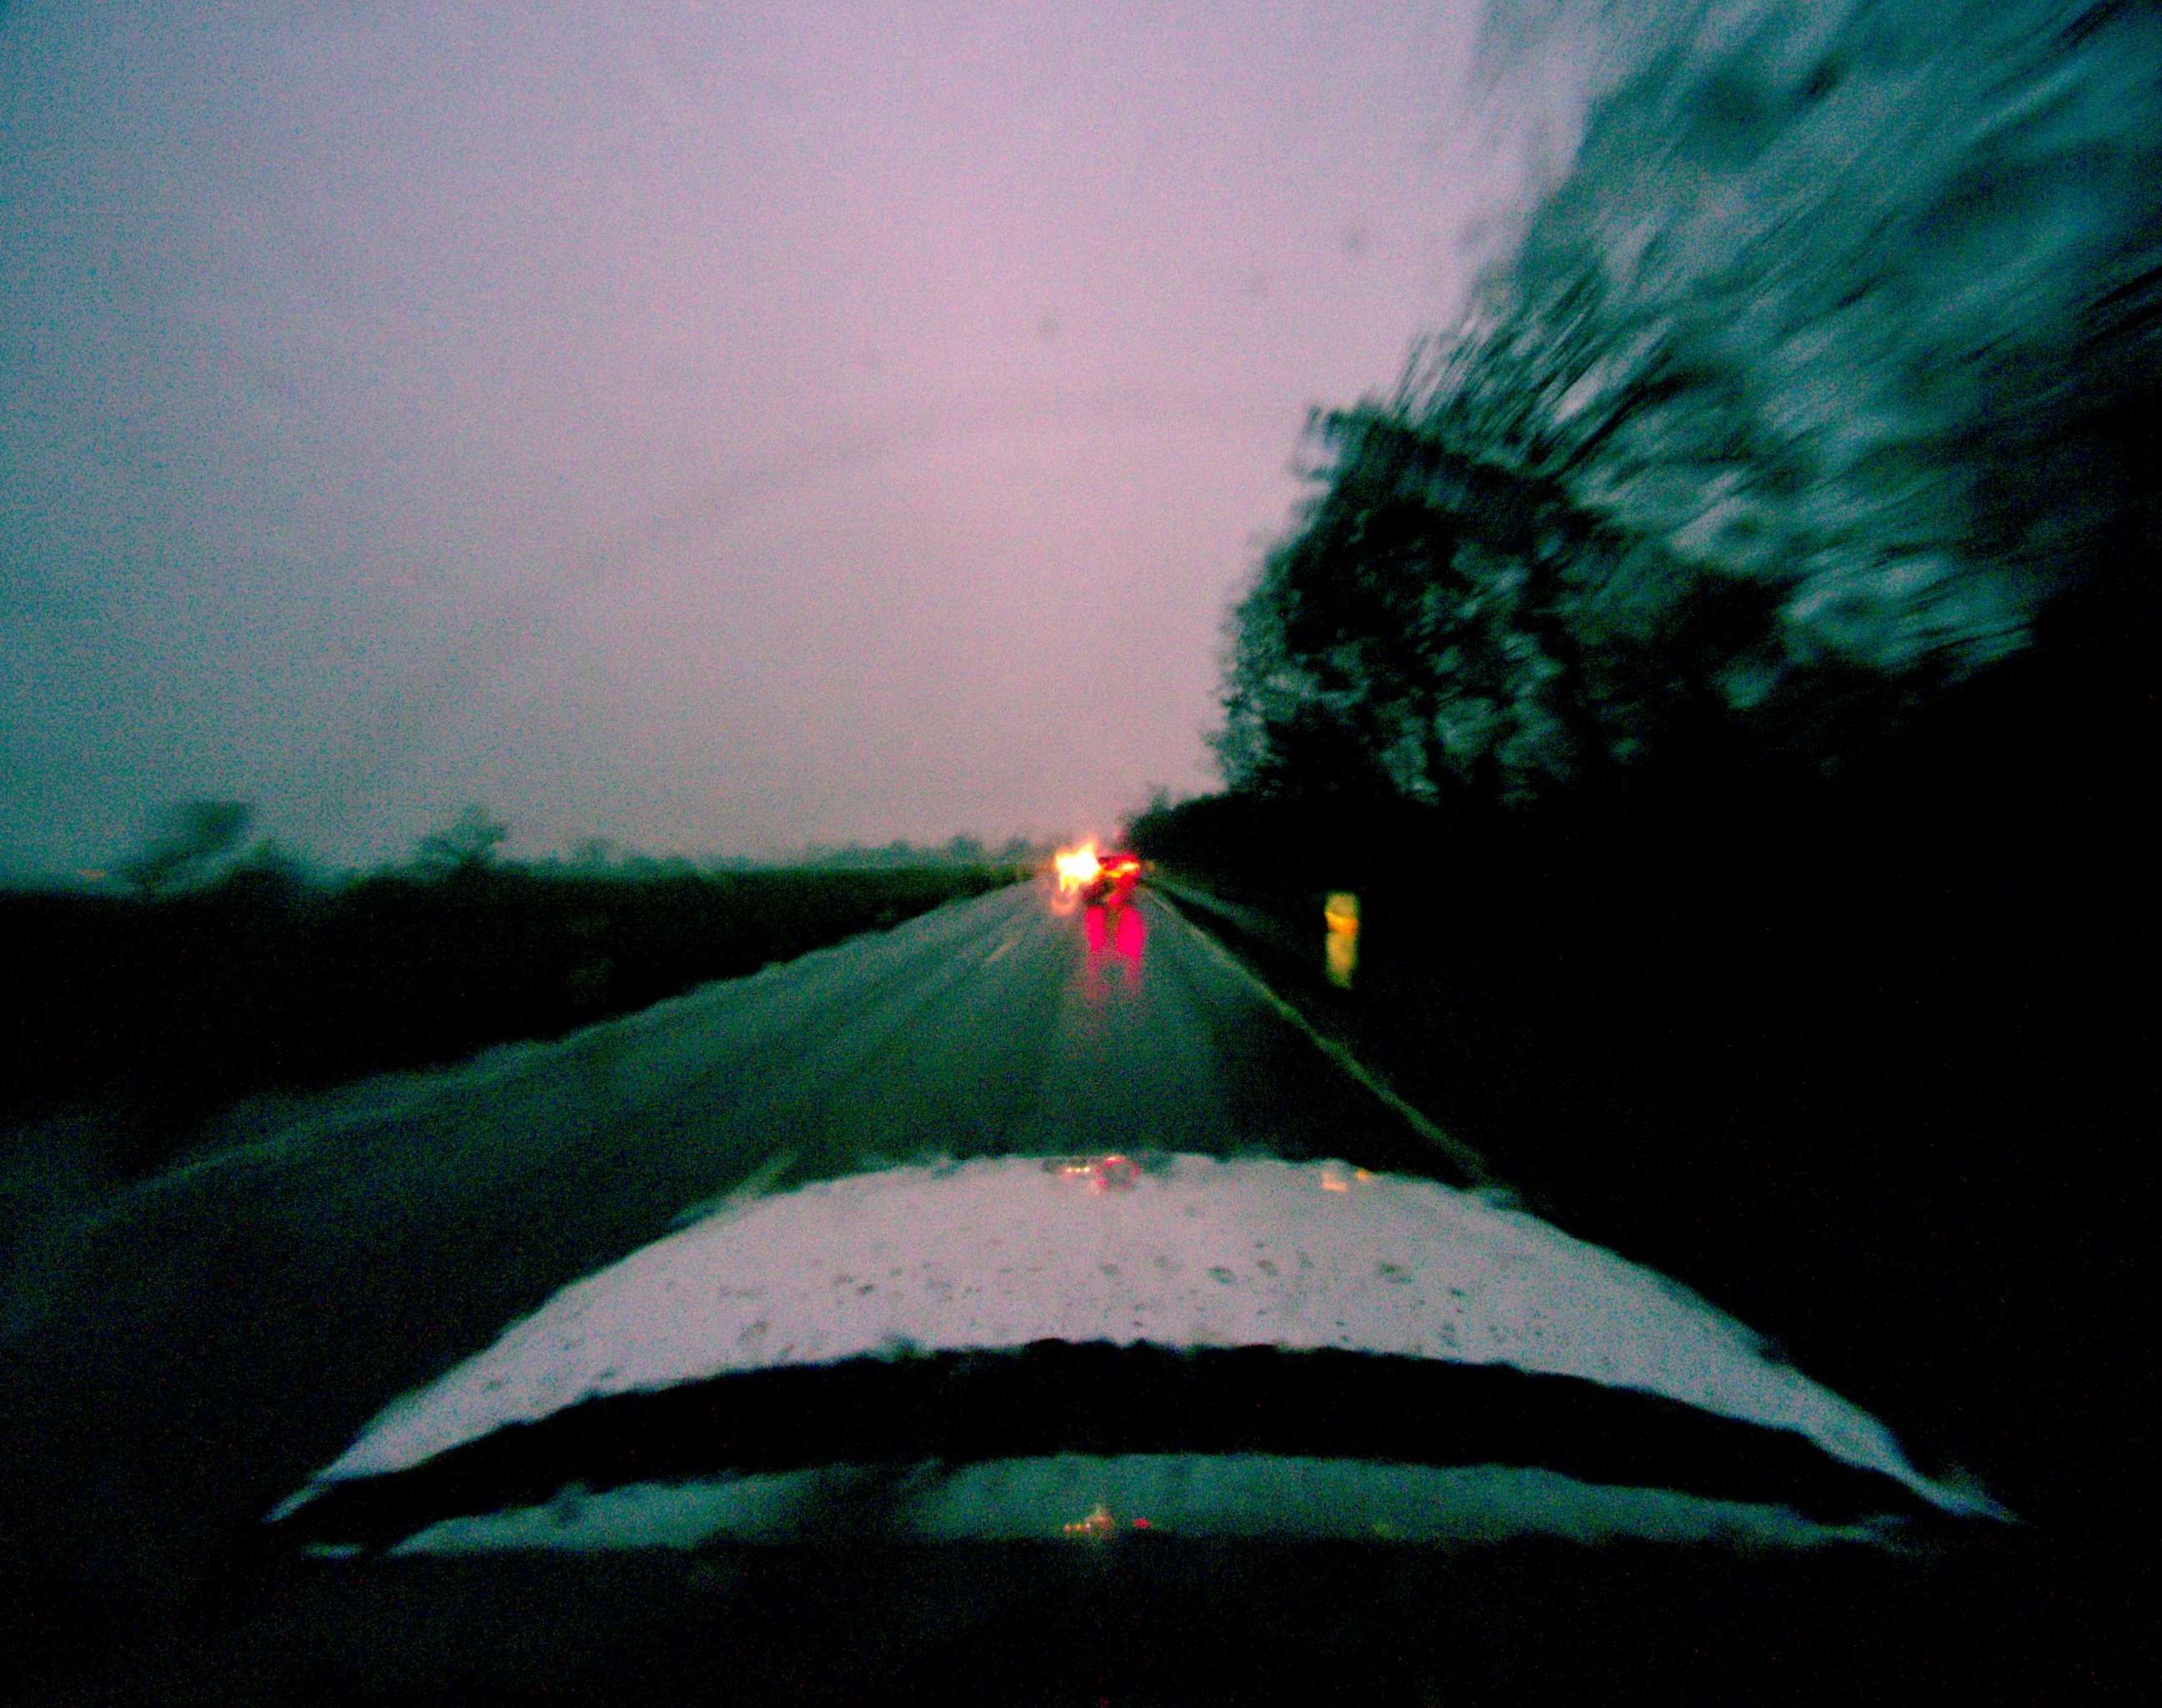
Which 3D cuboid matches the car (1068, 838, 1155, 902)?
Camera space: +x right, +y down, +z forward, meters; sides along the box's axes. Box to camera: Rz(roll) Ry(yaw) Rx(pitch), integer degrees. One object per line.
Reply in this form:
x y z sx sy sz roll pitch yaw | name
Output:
1.100 0.529 29.284 2.809 2.077 5.807 0 0 2 | car

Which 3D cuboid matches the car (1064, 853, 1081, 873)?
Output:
-0.969 1.027 93.862 1.909 2.137 4.312 -2 0 0 | car

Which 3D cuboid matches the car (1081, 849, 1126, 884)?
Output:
1.414 0.749 49.785 2.582 2.014 5.807 0 0 2 | car
